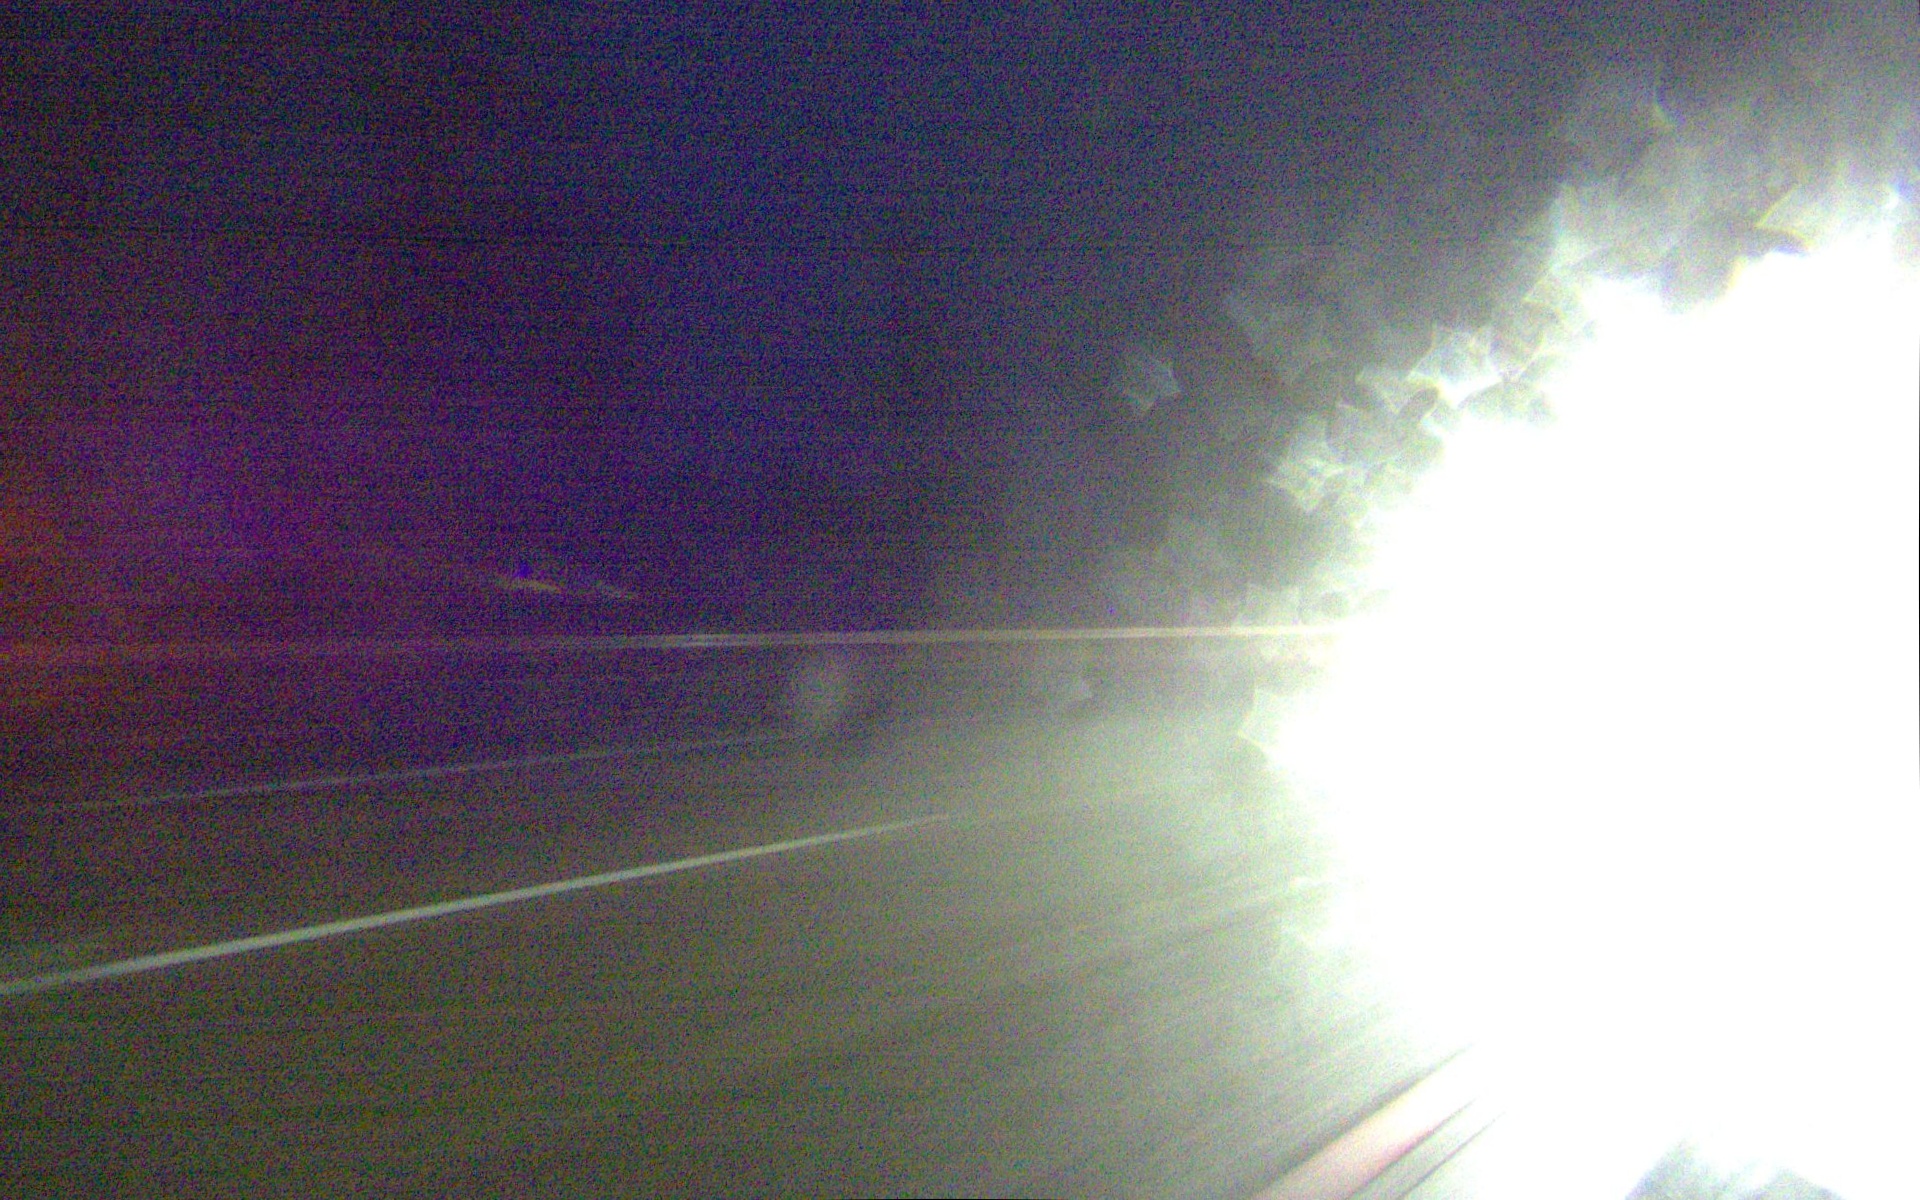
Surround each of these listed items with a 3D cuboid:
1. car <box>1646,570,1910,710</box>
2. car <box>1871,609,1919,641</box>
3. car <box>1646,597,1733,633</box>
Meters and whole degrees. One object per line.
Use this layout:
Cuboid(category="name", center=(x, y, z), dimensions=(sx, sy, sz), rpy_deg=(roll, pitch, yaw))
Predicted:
Cuboid(category="car", center=(11.132, 0.513, 13.728), dimensions=(3.608, 1.645, 1.849), rpy_deg=(1, -2, -35))
Cuboid(category="car", center=(62.369, 1.648, 67.181), dimensions=(3.925, 2.040, 1.998), rpy_deg=(0, -2, -37))
Cuboid(category="car", center=(33.761, 0.706, 46.837), dimensions=(3.923, 1.571, 2.000), rpy_deg=(0, -2, -34))
